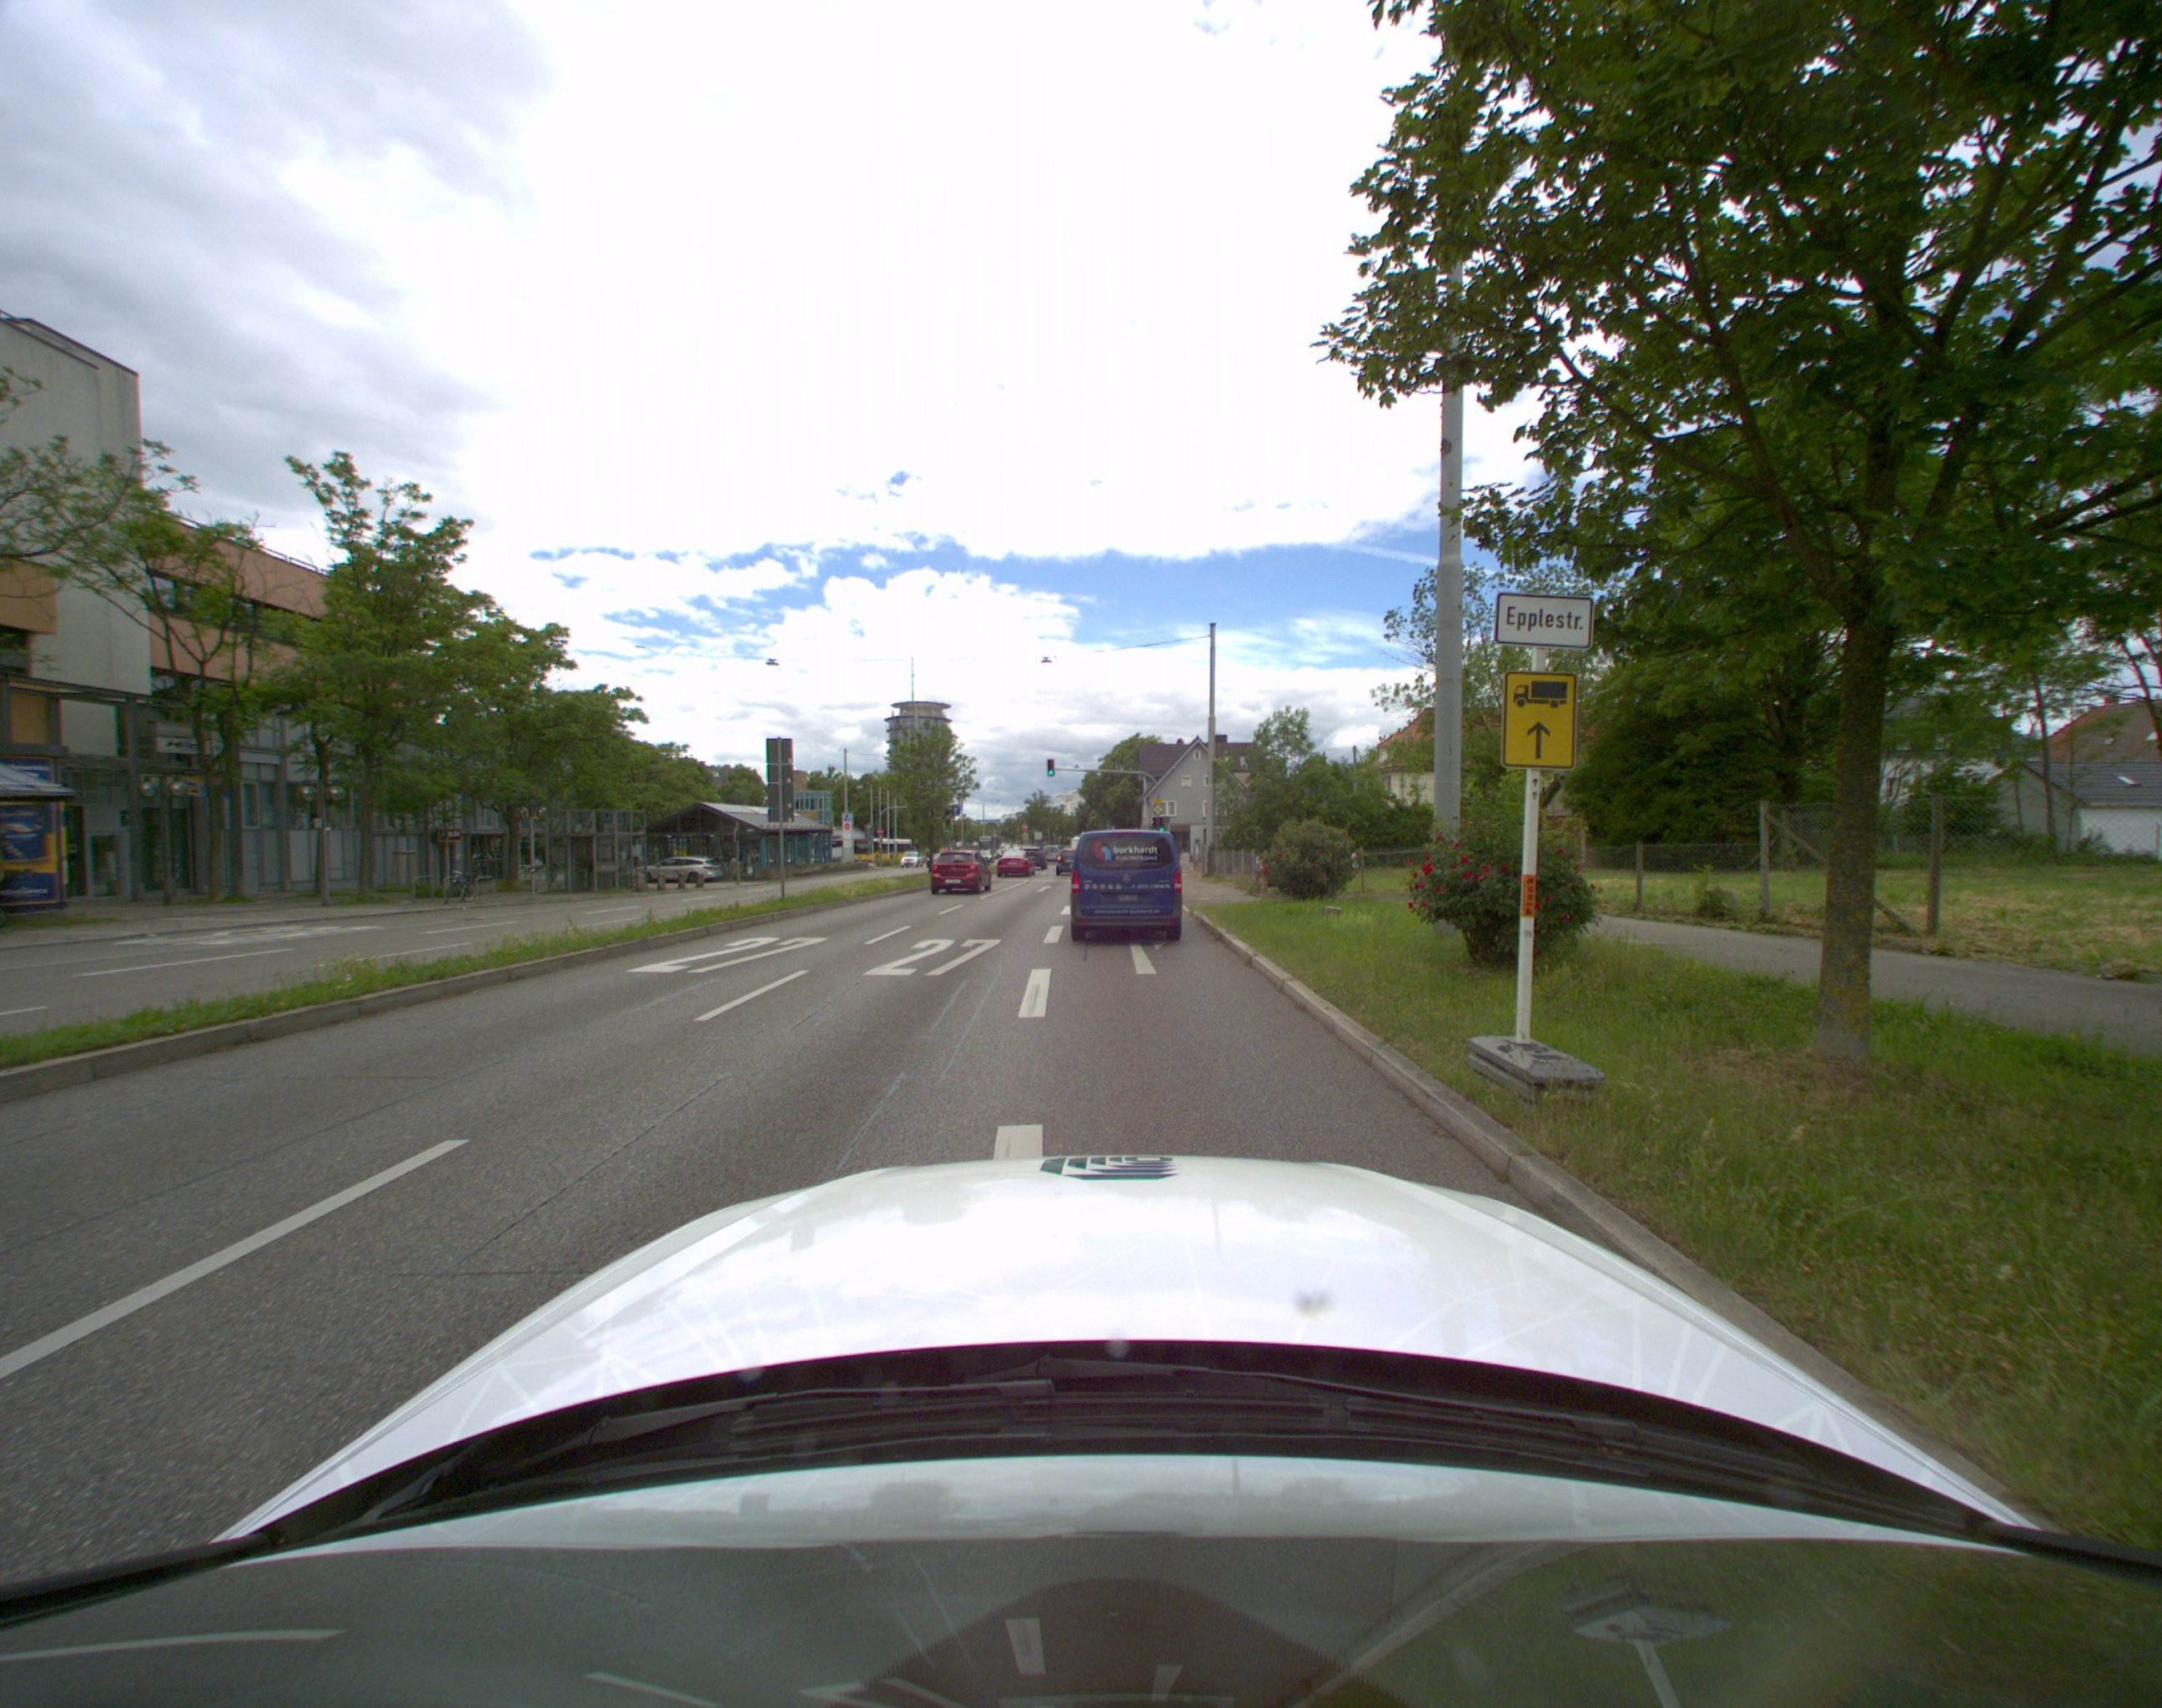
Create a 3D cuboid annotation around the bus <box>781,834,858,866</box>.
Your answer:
[{"bbox_3d":[-27.088,-0.413,85.210,2.941,3.133,12.182,0,0,6],"label":"bus"}]

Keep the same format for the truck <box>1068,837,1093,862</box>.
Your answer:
[{"bbox_3d":[-0.034,-0.410,73.013,1.986,2.165,5.562,1,0,2],"label":"truck"}]

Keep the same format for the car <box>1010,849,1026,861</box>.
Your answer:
[{"bbox_3d":[-10.897,0.148,140.857,1.983,2.013,4.188,-1,0,7],"label":"car"}]

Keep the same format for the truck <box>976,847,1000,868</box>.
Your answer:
[{"bbox_3d":[-17.092,0.562,150.774,3.358,3.727,11.275,0,0,-1],"label":"truck"}]

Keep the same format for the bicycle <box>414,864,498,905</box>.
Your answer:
[{"bbox_3d":[-21.336,1.017,27.894,1.049,1.271,2.423,1,0,-2],"label":"bicycle"}]

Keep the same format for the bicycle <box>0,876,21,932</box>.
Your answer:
[{"bbox_3d":[-23.500,1.059,16.740,2.068,1.153,0.708,0,0,-15],"label":"bicycle"}]

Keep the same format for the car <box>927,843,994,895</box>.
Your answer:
[{"bbox_3d":[-4.234,0.489,29.252,1.740,1.723,4.000,1,0,1],"label":"car"}]

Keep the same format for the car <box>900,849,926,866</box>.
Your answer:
[{"bbox_3d":[-16.633,0.338,80.851,1.617,1.574,4.003,-1,0,3],"label":"car"}]

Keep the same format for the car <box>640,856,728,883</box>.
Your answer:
[{"bbox_3d":[-22.184,0.847,45.680,3.988,1.354,1.993,-1,0,-11],"label":"car"}]

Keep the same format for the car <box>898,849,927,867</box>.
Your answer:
[{"bbox_3d":[-16.663,0.387,80.810,1.741,1.517,4.002,-6,0,2],"label":"car"}]

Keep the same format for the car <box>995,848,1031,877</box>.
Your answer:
[{"bbox_3d":[-3.888,0.491,46.269,1.867,1.486,3.990,-2,-1,-7],"label":"car"}]

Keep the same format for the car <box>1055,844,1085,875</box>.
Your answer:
[{"bbox_3d":[-0.671,0.292,48.941,1.741,1.723,3.998,-1,0,-1],"label":"car"}]

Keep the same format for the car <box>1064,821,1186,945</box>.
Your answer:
[{"bbox_3d":[0.796,0.454,15.186,1.940,1.965,4.544,0,0,2],"label":"car"}]

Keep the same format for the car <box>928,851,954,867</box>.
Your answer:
[{"bbox_3d":[-13.566,0.439,79.094,1.809,1.398,5.007,-2,0,-2],"label":"car"}]

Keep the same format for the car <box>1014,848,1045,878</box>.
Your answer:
[{"bbox_3d":[-3.758,0.640,59.035,1.992,2.013,3.991,0,1,-7],"label":"car"}]

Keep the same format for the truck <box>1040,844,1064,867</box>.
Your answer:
[{"bbox_3d":[-2.885,0.120,82.312,1.986,2.165,5.562,1,0,2],"label":"truck"}]
